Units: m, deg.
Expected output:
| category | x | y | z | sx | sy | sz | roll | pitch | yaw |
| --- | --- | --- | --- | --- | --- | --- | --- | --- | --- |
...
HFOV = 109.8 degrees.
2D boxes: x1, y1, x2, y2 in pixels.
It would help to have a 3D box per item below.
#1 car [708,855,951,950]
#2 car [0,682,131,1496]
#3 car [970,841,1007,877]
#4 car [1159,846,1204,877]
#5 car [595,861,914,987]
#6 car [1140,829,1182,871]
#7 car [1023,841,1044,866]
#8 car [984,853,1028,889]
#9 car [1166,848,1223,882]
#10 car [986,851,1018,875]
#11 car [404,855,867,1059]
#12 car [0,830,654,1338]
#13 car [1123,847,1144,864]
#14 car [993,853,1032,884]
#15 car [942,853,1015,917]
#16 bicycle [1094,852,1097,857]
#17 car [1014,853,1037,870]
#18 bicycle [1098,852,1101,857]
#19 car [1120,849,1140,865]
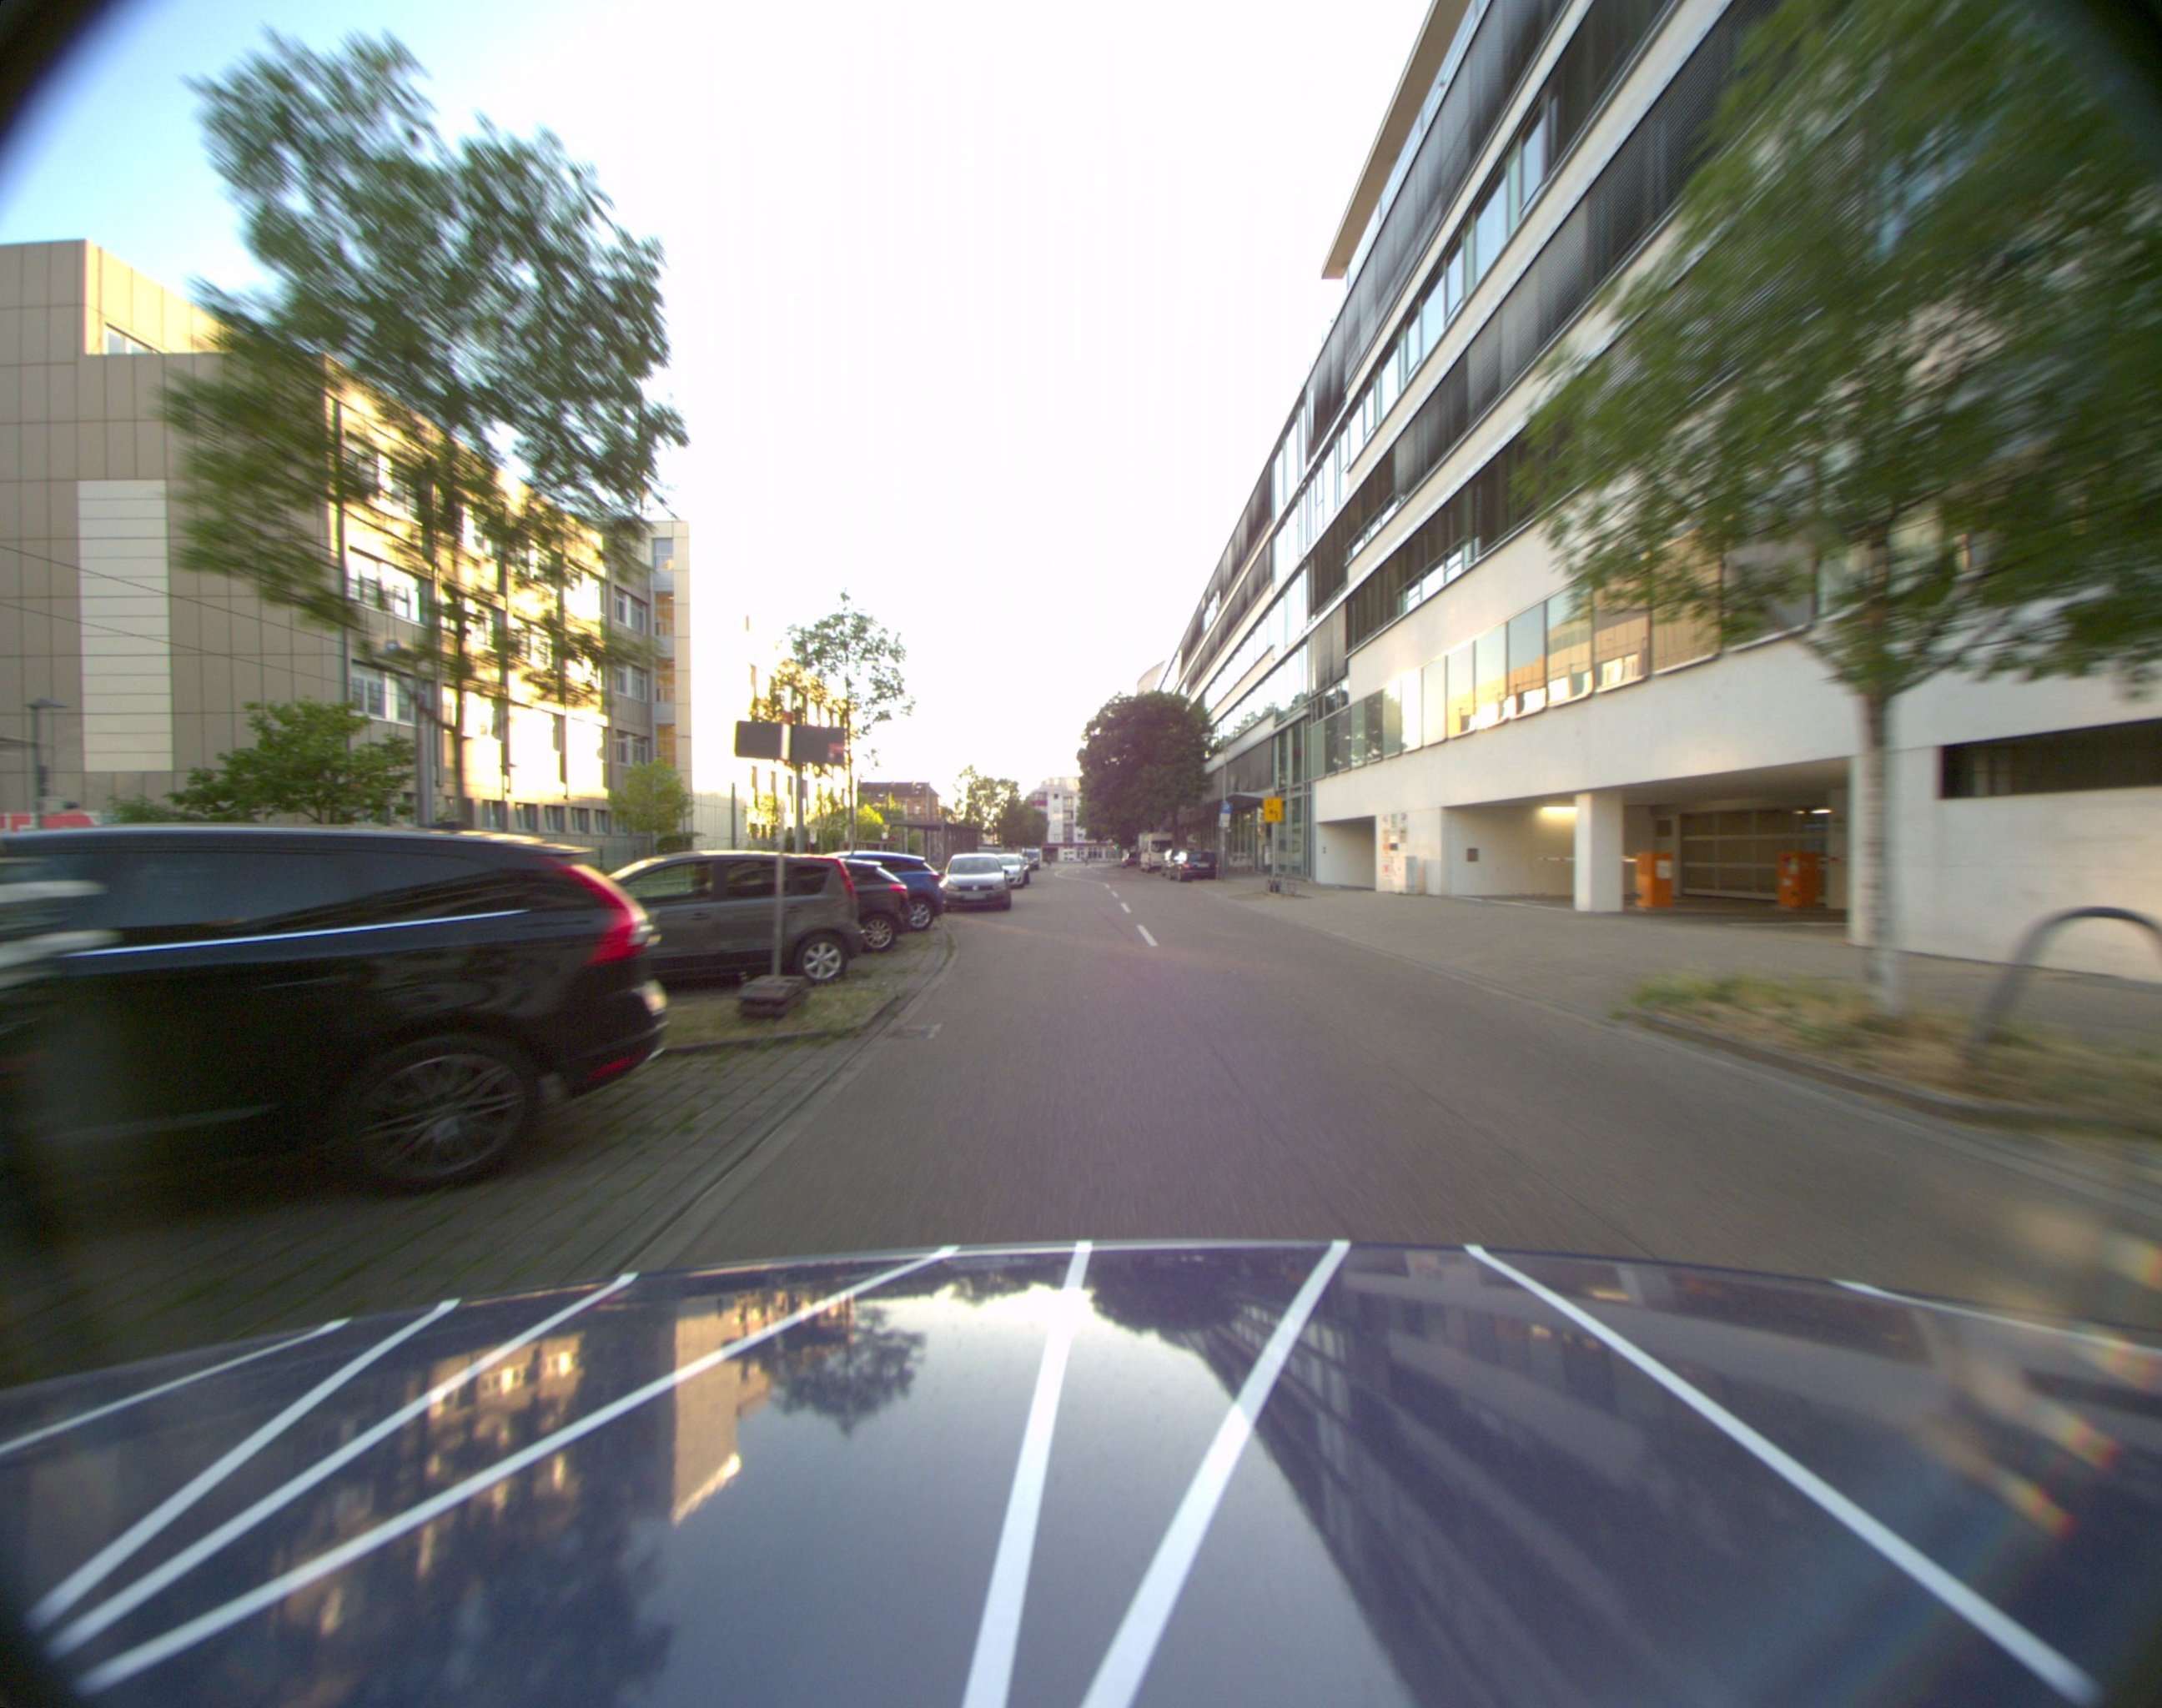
| category | x | y | z | sx | sy | sz | roll | pitch | yaw |
| --- | --- | --- | --- | --- | --- | --- | --- | --- | --- |
| car | -4.735 | 0.794 | 14.462 | 4.007 | 1.512 | 1.922 | 0 | 2 | -35 |
| car | -4.446 | 0.625 | 0.338 | 4.611 | 2.023 | 1.867 | -2 | 0 | -34 |
| car | -5.873 | 0.296 | 48.606 | 1.809 | 2.164 | 4.735 | 1 | 0 | -1 |
| car | 5.334 | 0.398 | 40.783 | 1.849 | 1.562 | 4.267 | -1 | 0 | 0 |
| car | -4.698 | 0.880 | 11.208 | 4.008 | 1.456 | 1.732 | -1 | 1 | -38 |
| car | 5.311 | -0.269 | 51.622 | 2.106 | 2.648 | 6.951 | -1 | 0 | 0 |
| car | -5.468 | -0.076 | 87.754 | 2.056 | 2.642 | 5.433 | 3 | 0 | -2 |
| car | -3.178 | 0.694 | 32.975 | 1.680 | 1.443 | 4.186 | -1 | 0 | -3 |
| car | 5.209 | 0.469 | 35.397 | 1.720 | 1.443 | 4.397 | -1 | 0 | -4 |
| car | -5.567 | 0.589 | 54.148 | 1.711 | 1.571 | 4.479 | 1 | 0 | 1 |
| car | -4.686 | 0.902 | 8.451 | 4.006 | 1.586 | 1.732 | -3 | 2 | -36 |
| car | -4.566 | 0.842 | 3.234 | 4.611 | 1.739 | 1.867 | -2 | 0 | -34 |
| car | 5.105 | 0.152 | 73.995 | 1.594 | 1.559 | 4.471 | -4 | 0 | 0 |
| car | -3.387 | 0.686 | 38.311 | 1.792 | 1.443 | 4.514 | -1 | 0 | -3 |
| car | -2.837 | 0.768 | 20.794 | 1.737 | 1.457 | 3.996 | -3 | 1 | -9 |
| bicycle | 2.955 | 0.019 | 153.648 | 0.515 | 1.040 | 1.902 | 0 | 0 | -3 |
| car | -5.510 | 0.709 | 75.651 | 1.800 | 1.487 | 4.781 | 3 | 0 | 1 |
| bicycle | 3.763 | 0.023 | 153.533 | 0.515 | 1.040 | 1.902 | 0 | 0 | -3 |
| car | 5.057 | 0.321 | 79.154 | 1.707 | 1.453 | 4.626 | -4 | 0 | 0 |
